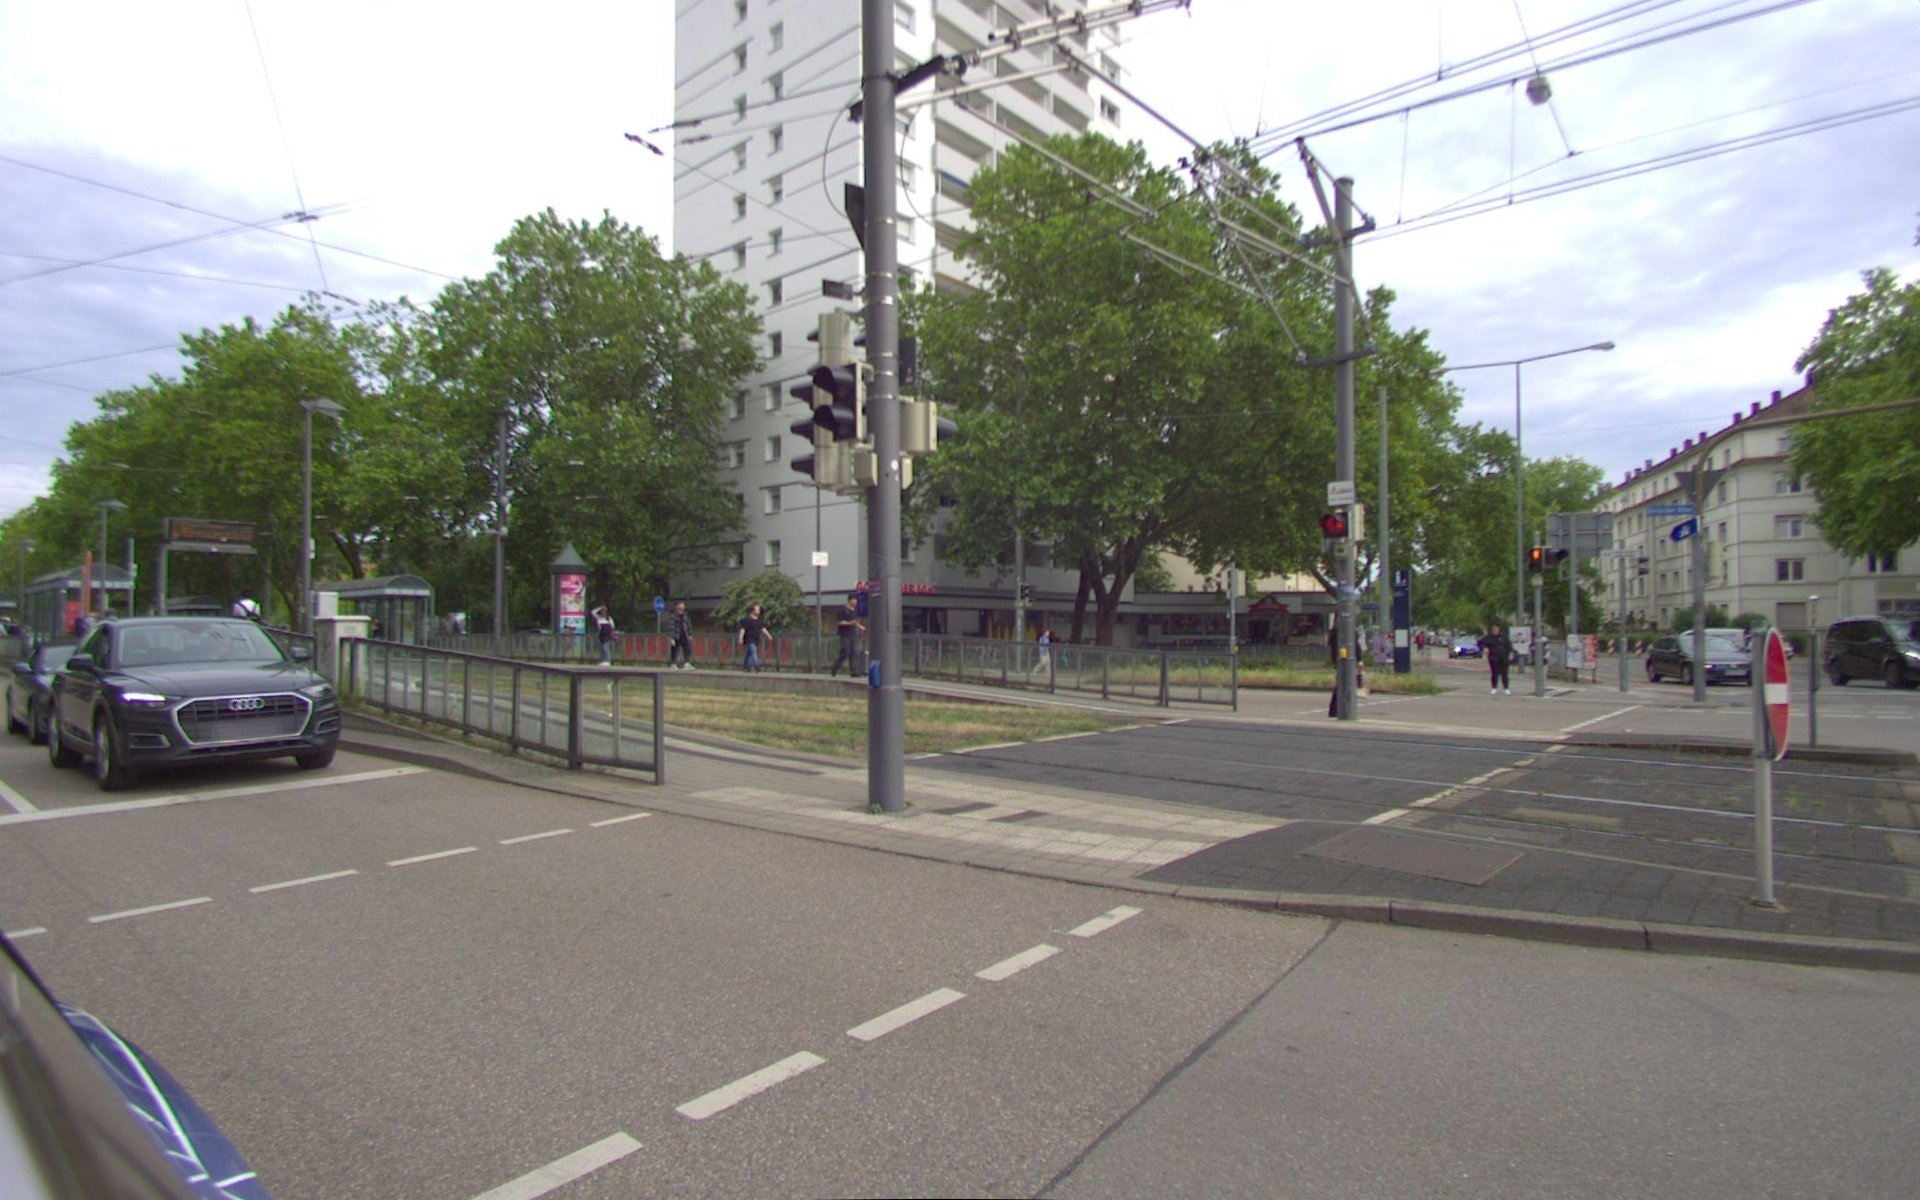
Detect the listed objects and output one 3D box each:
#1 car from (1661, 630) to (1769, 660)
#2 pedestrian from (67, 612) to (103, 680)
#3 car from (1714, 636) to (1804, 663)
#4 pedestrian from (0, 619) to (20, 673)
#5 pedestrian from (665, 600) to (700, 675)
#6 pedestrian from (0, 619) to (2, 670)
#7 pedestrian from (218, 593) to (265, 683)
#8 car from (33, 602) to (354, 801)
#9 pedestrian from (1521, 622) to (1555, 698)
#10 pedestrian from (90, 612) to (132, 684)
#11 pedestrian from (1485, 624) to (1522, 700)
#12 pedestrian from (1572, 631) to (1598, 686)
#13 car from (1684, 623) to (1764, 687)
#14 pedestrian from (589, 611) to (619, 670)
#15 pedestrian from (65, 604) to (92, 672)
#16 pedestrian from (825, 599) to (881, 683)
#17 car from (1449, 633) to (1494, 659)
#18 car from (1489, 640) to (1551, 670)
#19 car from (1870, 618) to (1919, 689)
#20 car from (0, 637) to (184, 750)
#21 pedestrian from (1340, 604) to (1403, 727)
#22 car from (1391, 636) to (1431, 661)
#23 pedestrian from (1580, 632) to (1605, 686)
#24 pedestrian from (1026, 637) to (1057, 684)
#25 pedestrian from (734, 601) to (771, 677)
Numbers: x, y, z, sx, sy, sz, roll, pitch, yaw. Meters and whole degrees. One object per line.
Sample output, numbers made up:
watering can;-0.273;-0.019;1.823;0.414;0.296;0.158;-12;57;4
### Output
car;43.291;2.568;58.154;4.820;1.676;1.977;-2;-2;34
pedestrian;-23.859;1.242;27.600;0.821;1.805;0.674;-2;-1;45
car;47.108;2.875;59.787;1.773;1.497;4.007;0;-2;-9
pedestrian;-36.658;1.759;39.008;0.822;2.066;0.577;-2;-1;45
pedestrian;-6.825;0.913;24.909;0.534;1.803;0.614;-2;-1;42
pedestrian;-40.020;1.847;41.853;0.822;2.066;0.577;-2;-1;45
pedestrian;-14.391;0.743;20.268;0.534;1.764;0.654;-2;-1;42
car;-8.212;0.911;10.684;4.366;1.660;1.891;-2;-1;42
pedestrian;12.516;1.296;21.909;0.499;1.624;0.366;-1;-1;9
pedestrian;-21.602;1.216;25.755;0.652;1.805;0.535;-1;-1;-9
pedestrian;11.883;1.353;22.141;0.518;1.624;0.525;-1;-1;9
pedestrian;15.879;1.487;25.709;0.413;1.375;0.389;-1;-1;14
car;22.184;1.619;29.487;1.660;1.732;3.695;-2;-5;35
pedestrian;-10.360;1.181;29.439;0.565;1.681;0.614;-2;-1;42
pedestrian;-27.188;1.152;31.206;0.822;2.066;0.577;-2;-1;45
pedestrian;-2.235;0.842;21.079;0.878;1.708;0.733;-2;-1;42
car;35.109;3.157;69.542;1.918;1.697;3.980;-1;-2;15
car;28.363;2.744;51.391;1.745;1.431;3.981;-1;-2;14
car;24.754;1.395;25.699;1.908;1.732;3.695;-2;-5;35
car;-12.885;1.269;14.877;4.012;1.385;1.616;-2;-1;42
pedestrian;6.091;0.943;14.988;0.627;1.763;0.647;-2;-1;43
car;31.058;3.346;69.843;1.983;1.564;3.887;-1;-1;17
pedestrian;16.312;1.518;26.106;0.413;1.375;0.389;-1;-1;14
pedestrian;2.751;2.029;34.038;0.853;1.520;0.547;-2;-1;40
pedestrian;-4.910;0.917;23.940;0.548;1.764;0.614;-2;-1;42
